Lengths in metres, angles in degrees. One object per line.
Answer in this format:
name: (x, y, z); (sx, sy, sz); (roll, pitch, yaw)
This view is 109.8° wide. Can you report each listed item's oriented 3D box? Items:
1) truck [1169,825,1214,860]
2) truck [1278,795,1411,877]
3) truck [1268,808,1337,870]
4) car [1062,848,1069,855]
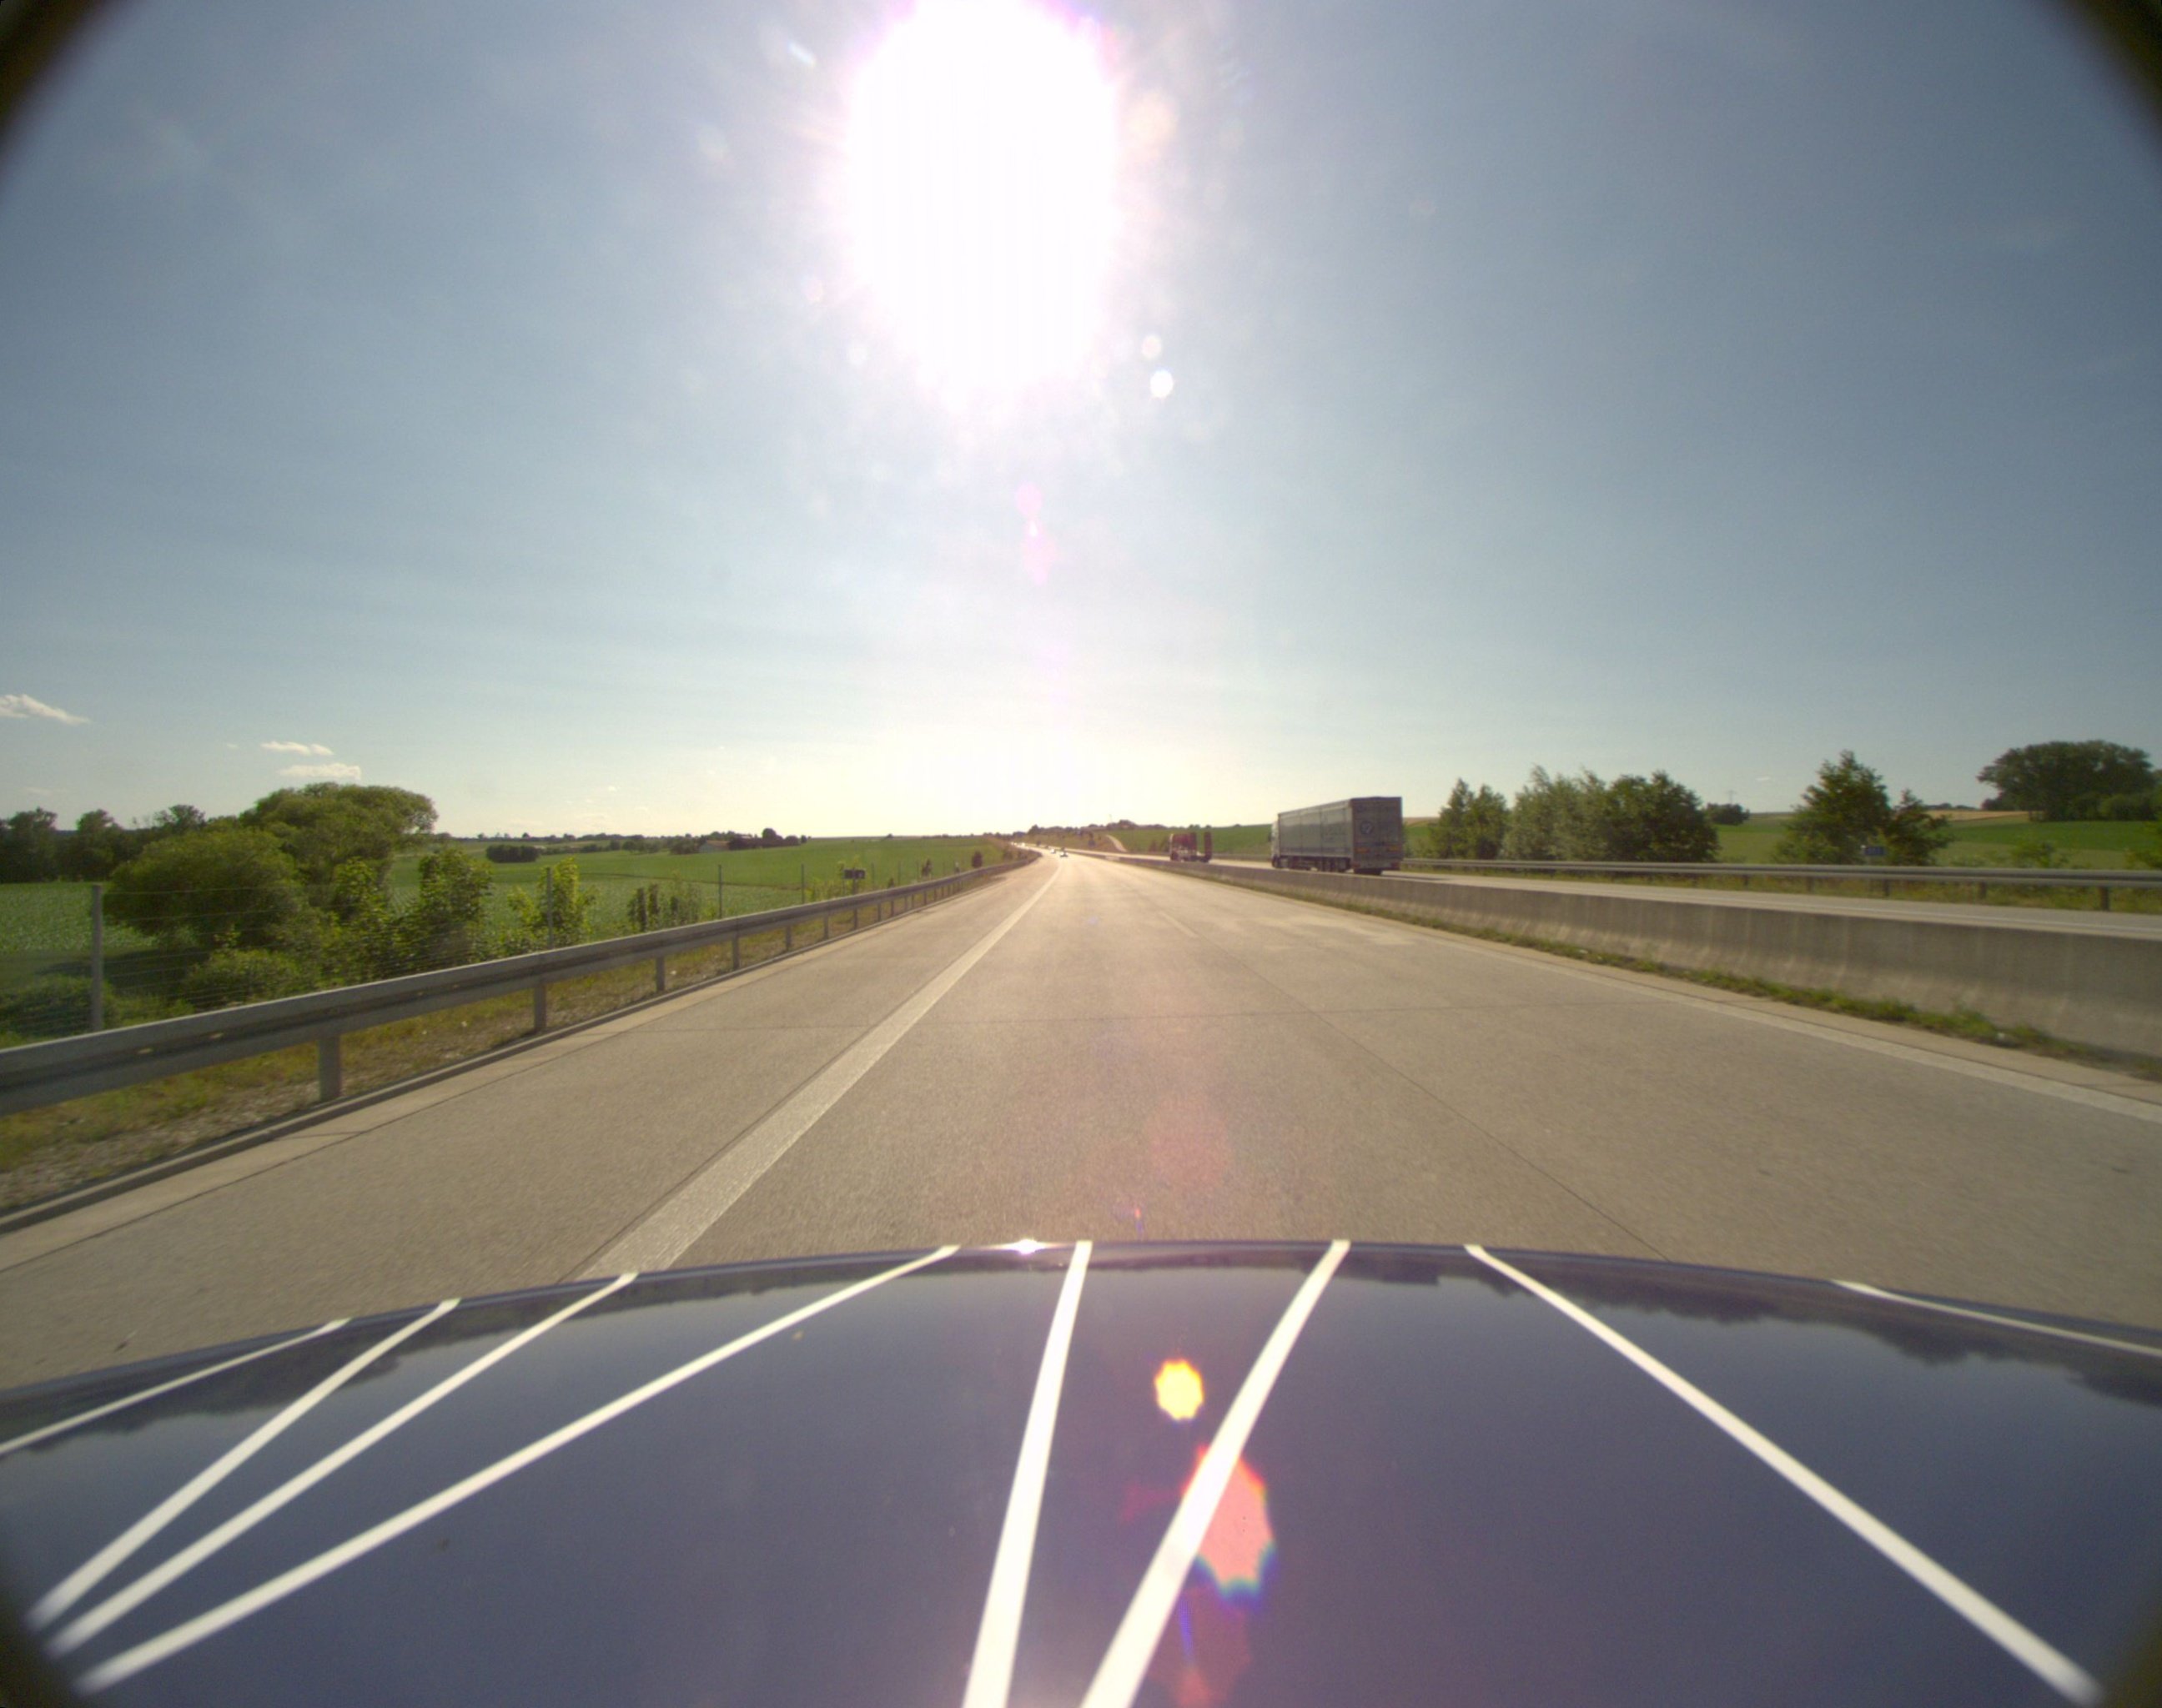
truck: (13.805, -1.439, 96.573); (2.875, 3.992, 17.111); (-1, 1, -1)
truck: (14.738, -0.959, 44.210); (2.867, 3.985, 13.866); (-1, 1, 0)
truck: (14.721, -0.960, 50.980); (2.868, 3.851, 5.982); (-1, 1, 0)
car: (-3.748, -0.642, 186.516); (1.715, 1.580, 4.626); (-2, 1, 0)
